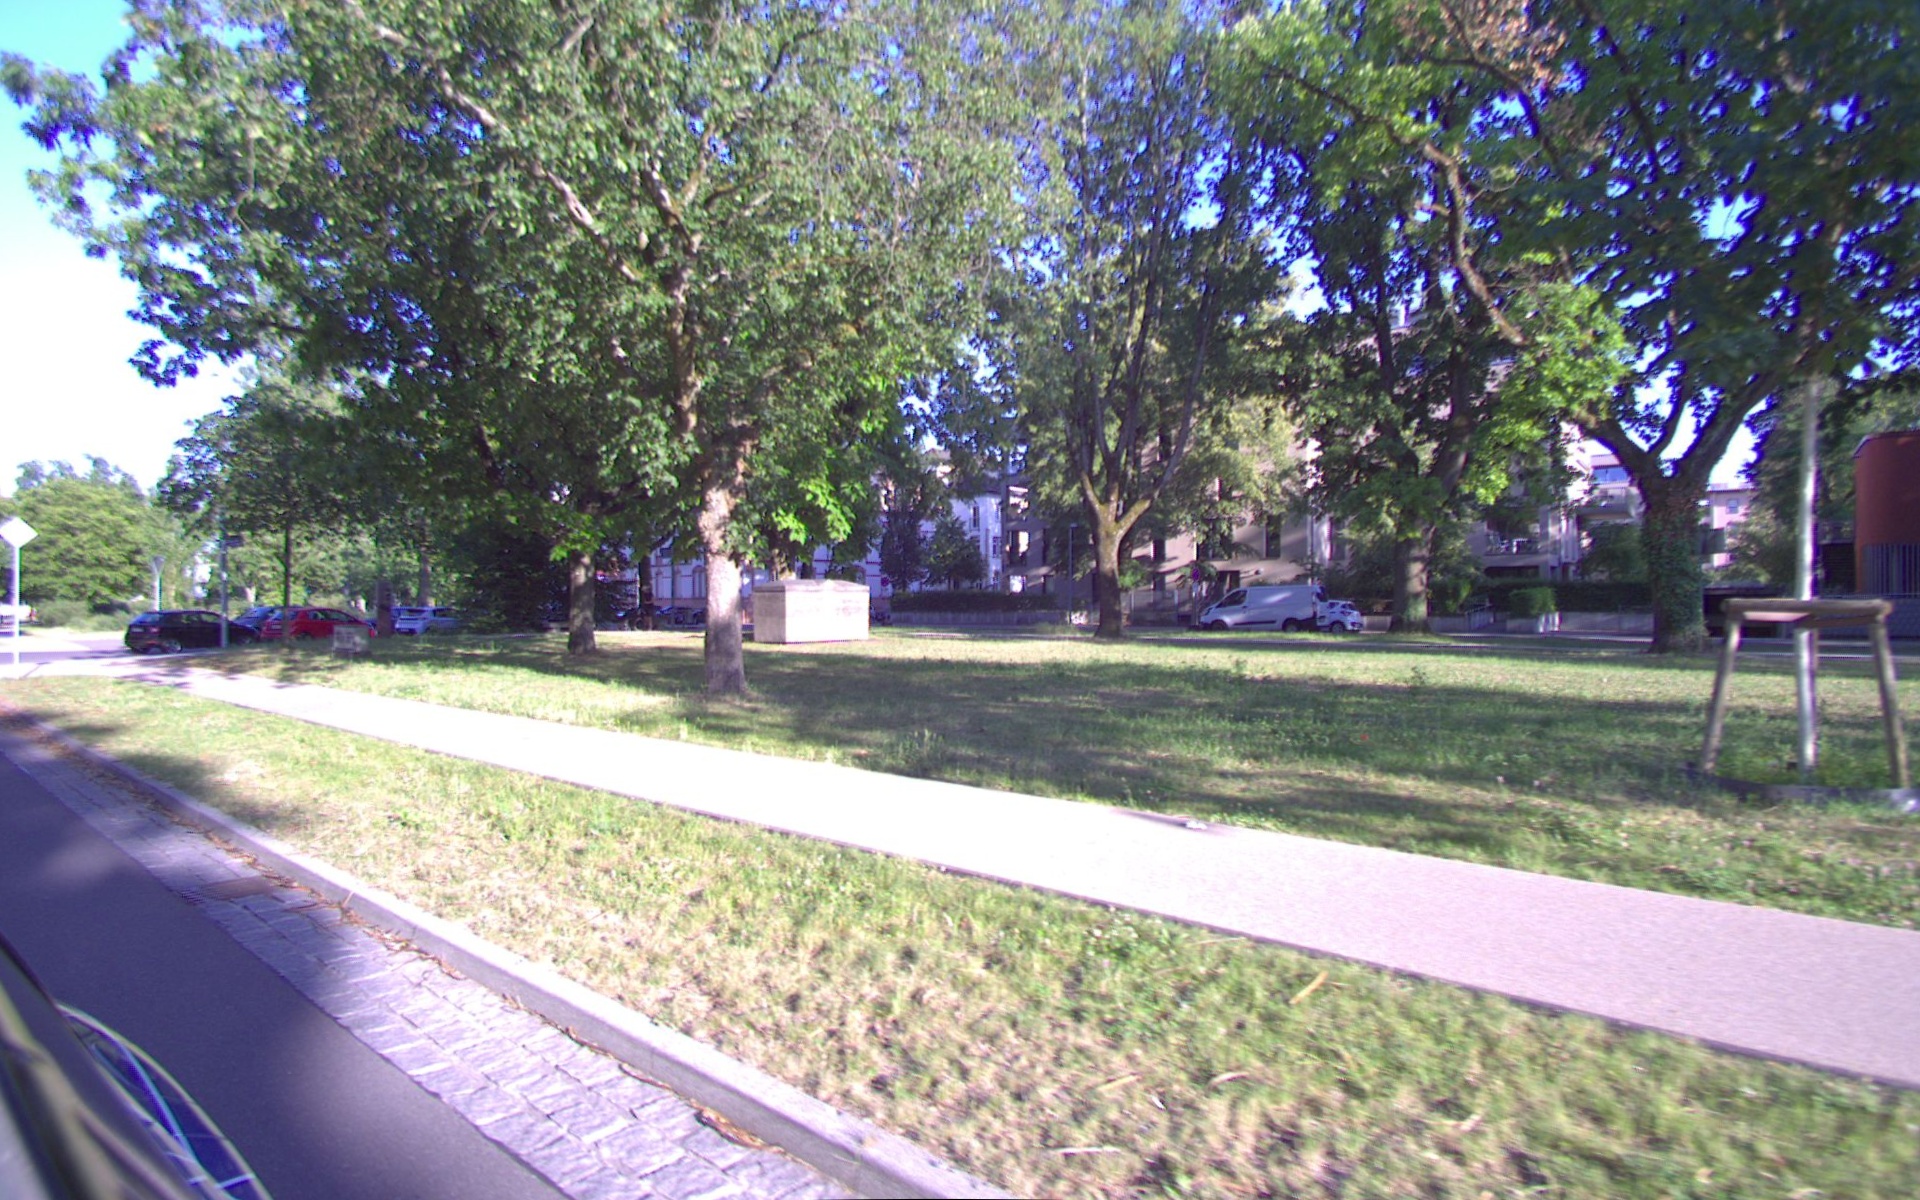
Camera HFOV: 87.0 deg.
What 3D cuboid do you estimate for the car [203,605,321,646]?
[{"bbox_3d":[-29.423,1.039,42.804,1.824,1.643,3.825,0,0,17],"label":"car"}]

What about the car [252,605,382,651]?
[{"bbox_3d":[-24.596,1.024,38.852,1.874,1.586,3.979,1,1,16],"label":"car"}]

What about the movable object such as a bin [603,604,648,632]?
[{"bbox_3d":[-12.538,0.668,37.985,0.946,0.997,1.319,0,0,31],"label":"movable object such as a bin"}]

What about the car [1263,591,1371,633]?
[{"bbox_3d":[14.652,0.479,41.631,3.737,1.630,1.973,-1,0,42],"label":"car"}]

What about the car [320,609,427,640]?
[{"bbox_3d":[-27.675,1.126,47.912,1.825,1.411,4.250,0,0,19],"label":"car"}]

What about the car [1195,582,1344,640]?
[{"bbox_3d":[12.109,0.401,39.709,4.962,2.130,2.644,-1,0,38],"label":"car"}]

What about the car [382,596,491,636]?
[{"bbox_3d":[-22.719,0.656,44.082,1.877,1.586,3.973,1,1,20],"label":"car"}]

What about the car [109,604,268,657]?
[{"bbox_3d":[-26.113,0.984,34.419,1.874,1.586,3.979,1,1,16],"label":"car"}]

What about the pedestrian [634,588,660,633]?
[{"bbox_3d":[-11.999,0.391,38.842,0.670,1.708,0.657,-1,0,32],"label":"pedestrian"}]

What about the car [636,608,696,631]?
[{"bbox_3d":[-21.708,1.445,74.847,3.939,1.586,1.893,1,1,-5],"label":"car"}]

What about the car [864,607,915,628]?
[{"bbox_3d":[-5.632,1.405,81.006,1.890,1.586,3.946,2,1,41],"label":"car"}]
